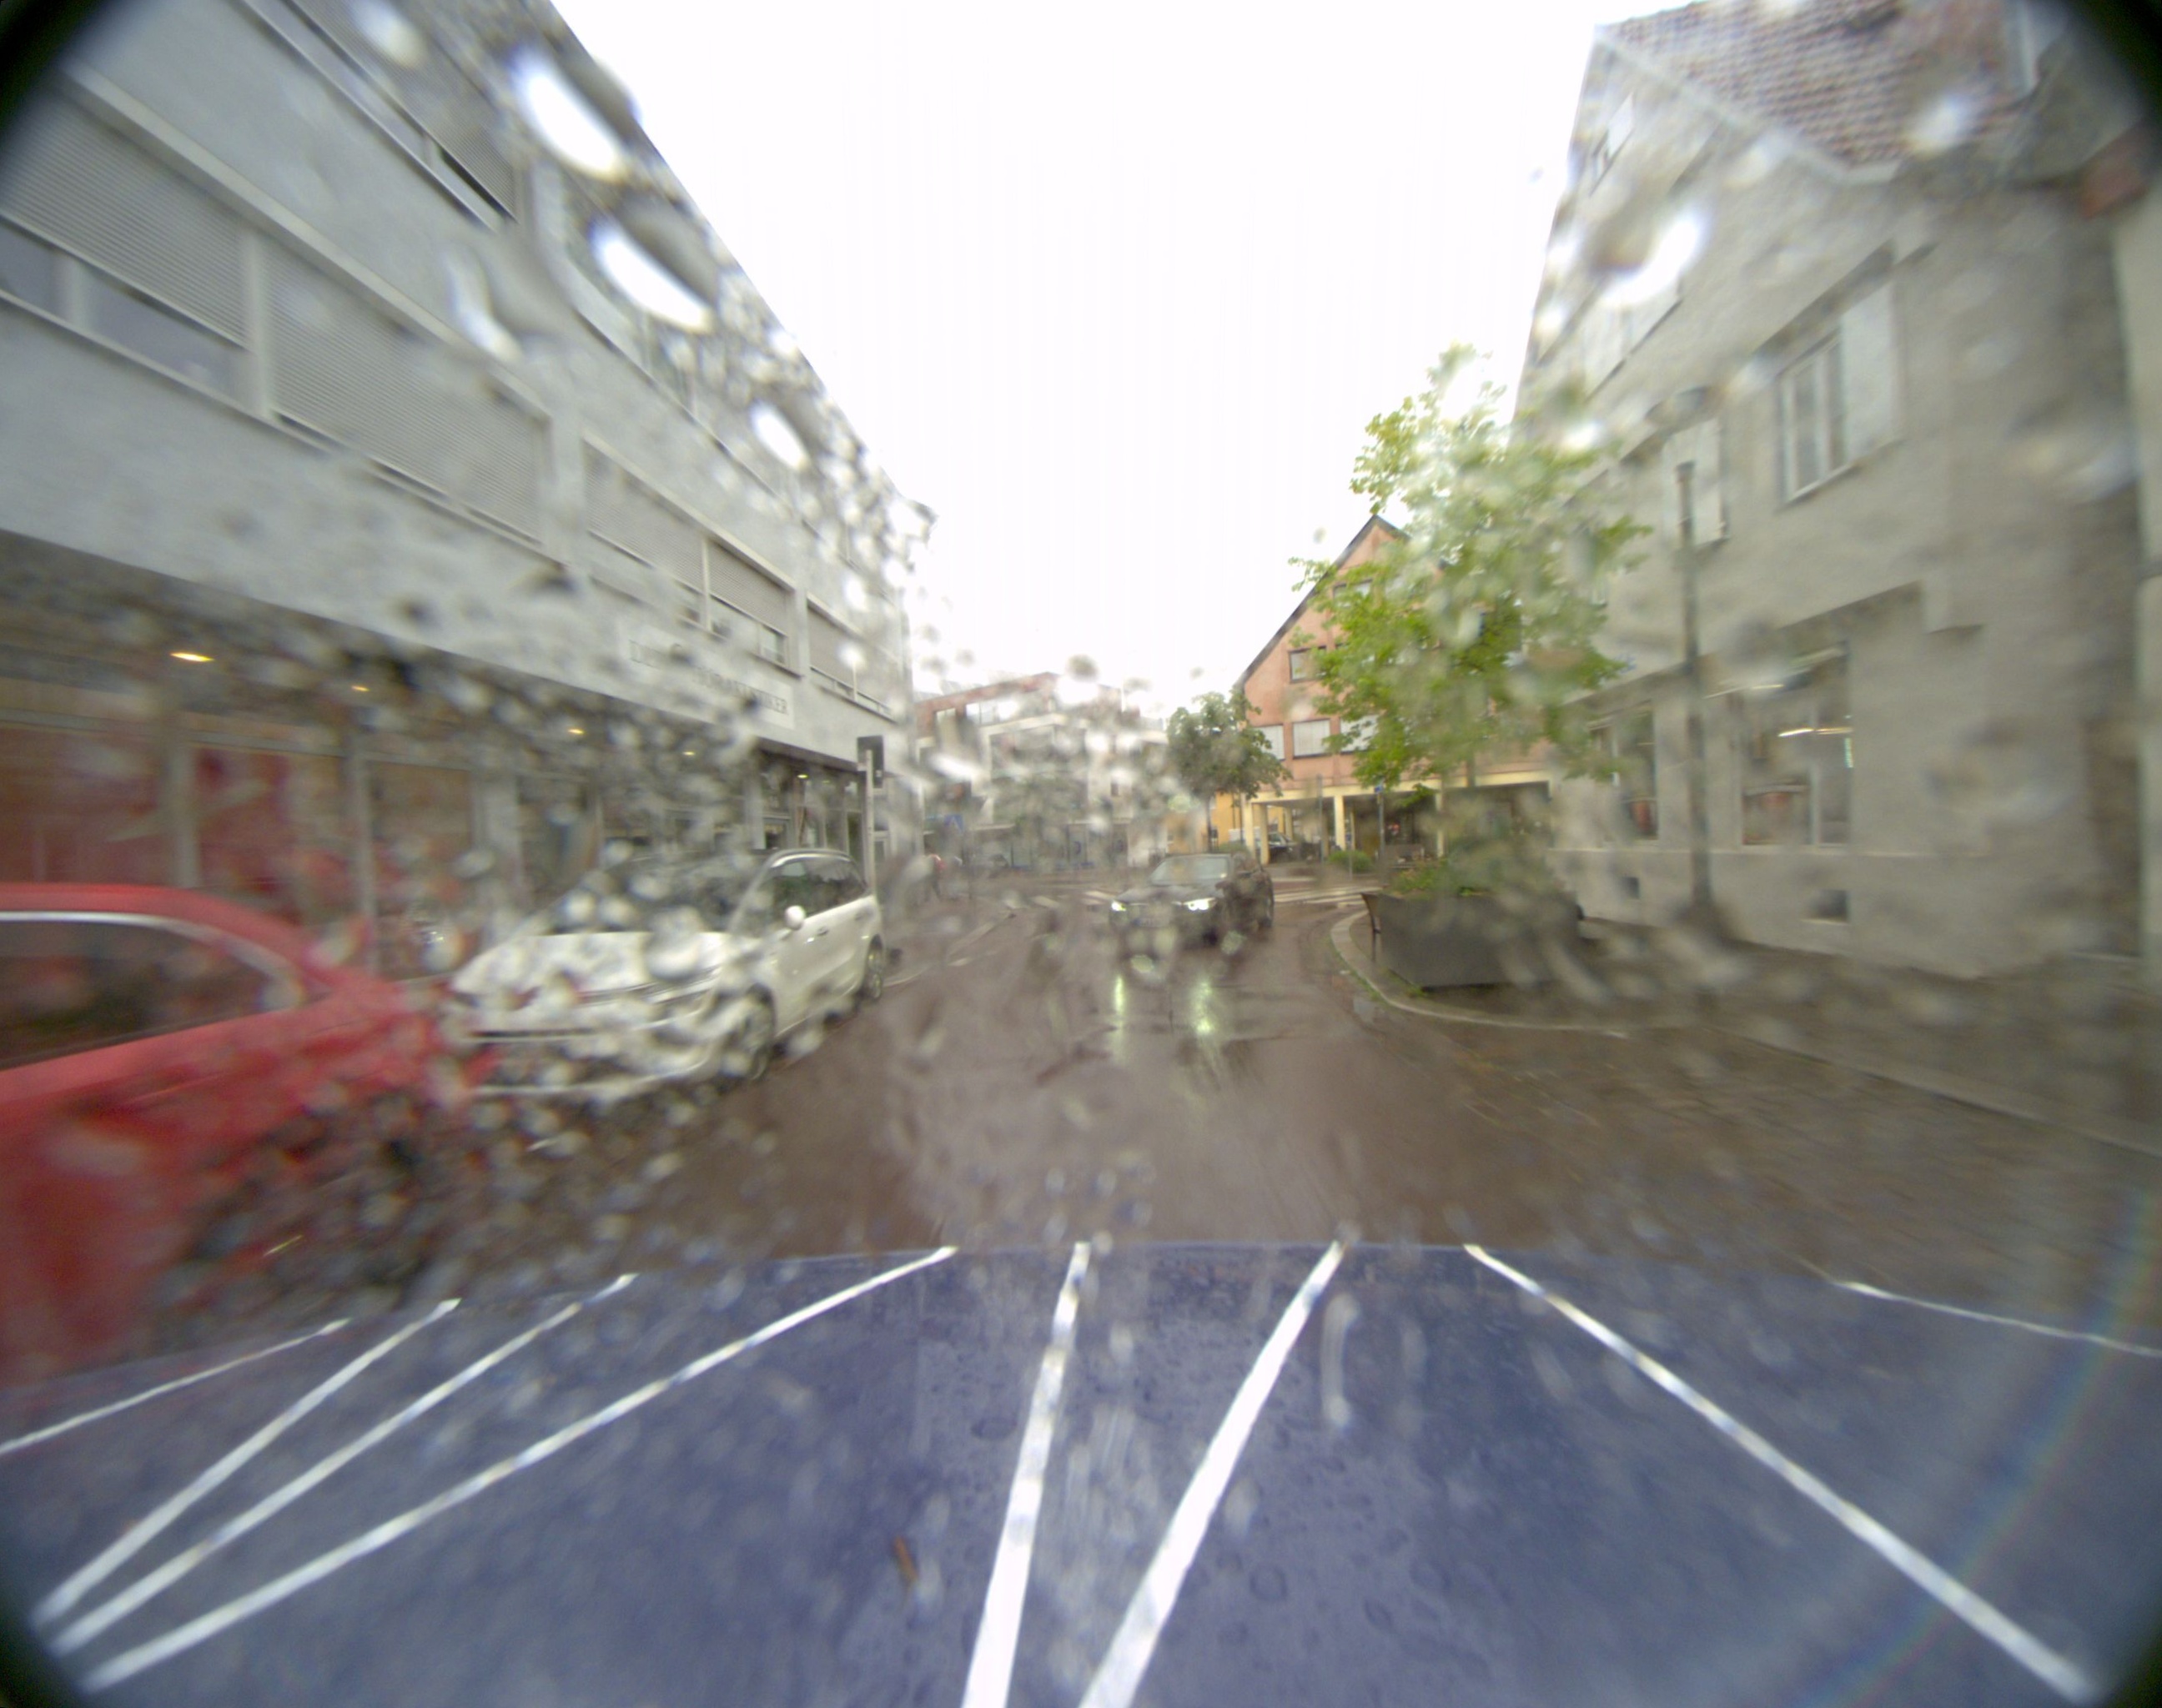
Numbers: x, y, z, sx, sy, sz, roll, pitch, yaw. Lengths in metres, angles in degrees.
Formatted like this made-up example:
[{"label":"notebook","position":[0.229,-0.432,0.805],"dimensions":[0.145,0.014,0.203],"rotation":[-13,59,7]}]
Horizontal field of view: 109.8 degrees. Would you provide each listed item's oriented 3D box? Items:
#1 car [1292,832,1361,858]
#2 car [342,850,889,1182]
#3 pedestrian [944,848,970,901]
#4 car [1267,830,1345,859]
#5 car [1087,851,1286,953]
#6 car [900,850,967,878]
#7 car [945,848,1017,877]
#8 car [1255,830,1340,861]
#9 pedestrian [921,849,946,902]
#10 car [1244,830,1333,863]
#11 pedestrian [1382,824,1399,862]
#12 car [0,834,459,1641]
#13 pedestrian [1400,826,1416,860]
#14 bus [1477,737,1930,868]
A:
[{"label":"car","position":[15.846,-0.576,48.955],"dimensions":[3.990,1.477,2.003],"rotation":[-2,1,24]},{"label":"car","position":[-3.023,0.863,6.197],"dimensions":[1.694,1.680,4.278],"rotation":[-2,1,1]},{"label":"pedestrian","position":[-4.388,0.717,26.872],"dimensions":[0.673,1.801,0.679],"rotation":[-3,1,-23]},{"label":"car","position":[12.811,-0.550,43.285],"dimensions":[3.990,1.477,2.003],"rotation":[-2,1,24]},{"label":"car","position":[2.124,0.745,13.606],"dimensions":[1.995,1.398,4.901],"rotation":[-3,0,26]},{"label":"car","position":[-9.322,0.638,48.071],"dimensions":[3.989,1.565,1.722],"rotation":[-2,1,32]},{"label":"car","position":[-5.930,0.500,44.994],"dimensions":[3.989,1.565,1.722],"rotation":[-2,1,32]},{"label":"car","position":[11.479,-0.454,40.272],"dimensions":[3.990,1.477,2.003],"rotation":[-2,1,24]},{"label":"pedestrian","position":[-5.097,0.738,26.230],"dimensions":[0.700,1.801,0.510],"rotation":[-3,2,-23]},{"label":"car","position":[10.390,-0.378,37.986],"dimensions":[3.990,1.477,2.003],"rotation":[-2,1,24]},{"label":"pedestrian","position":[13.226,-0.473,32.453],"dimensions":[0.586,1.623,0.480],"rotation":[-2,2,27]},{"label":"car","position":[-3.181,0.846,0.721],"dimensions":[1.694,1.680,3.958],"rotation":[-2,1,3]},{"label":"pedestrian","position":[13.919,-0.470,32.345],"dimensions":[0.586,1.430,0.480],"rotation":[-2,2,27]},{"label":"bus","position":[18.614,-1.413,23.811],"dimensions":[10.671,3.281,2.683],"rotation":[-2,1,19]}]
